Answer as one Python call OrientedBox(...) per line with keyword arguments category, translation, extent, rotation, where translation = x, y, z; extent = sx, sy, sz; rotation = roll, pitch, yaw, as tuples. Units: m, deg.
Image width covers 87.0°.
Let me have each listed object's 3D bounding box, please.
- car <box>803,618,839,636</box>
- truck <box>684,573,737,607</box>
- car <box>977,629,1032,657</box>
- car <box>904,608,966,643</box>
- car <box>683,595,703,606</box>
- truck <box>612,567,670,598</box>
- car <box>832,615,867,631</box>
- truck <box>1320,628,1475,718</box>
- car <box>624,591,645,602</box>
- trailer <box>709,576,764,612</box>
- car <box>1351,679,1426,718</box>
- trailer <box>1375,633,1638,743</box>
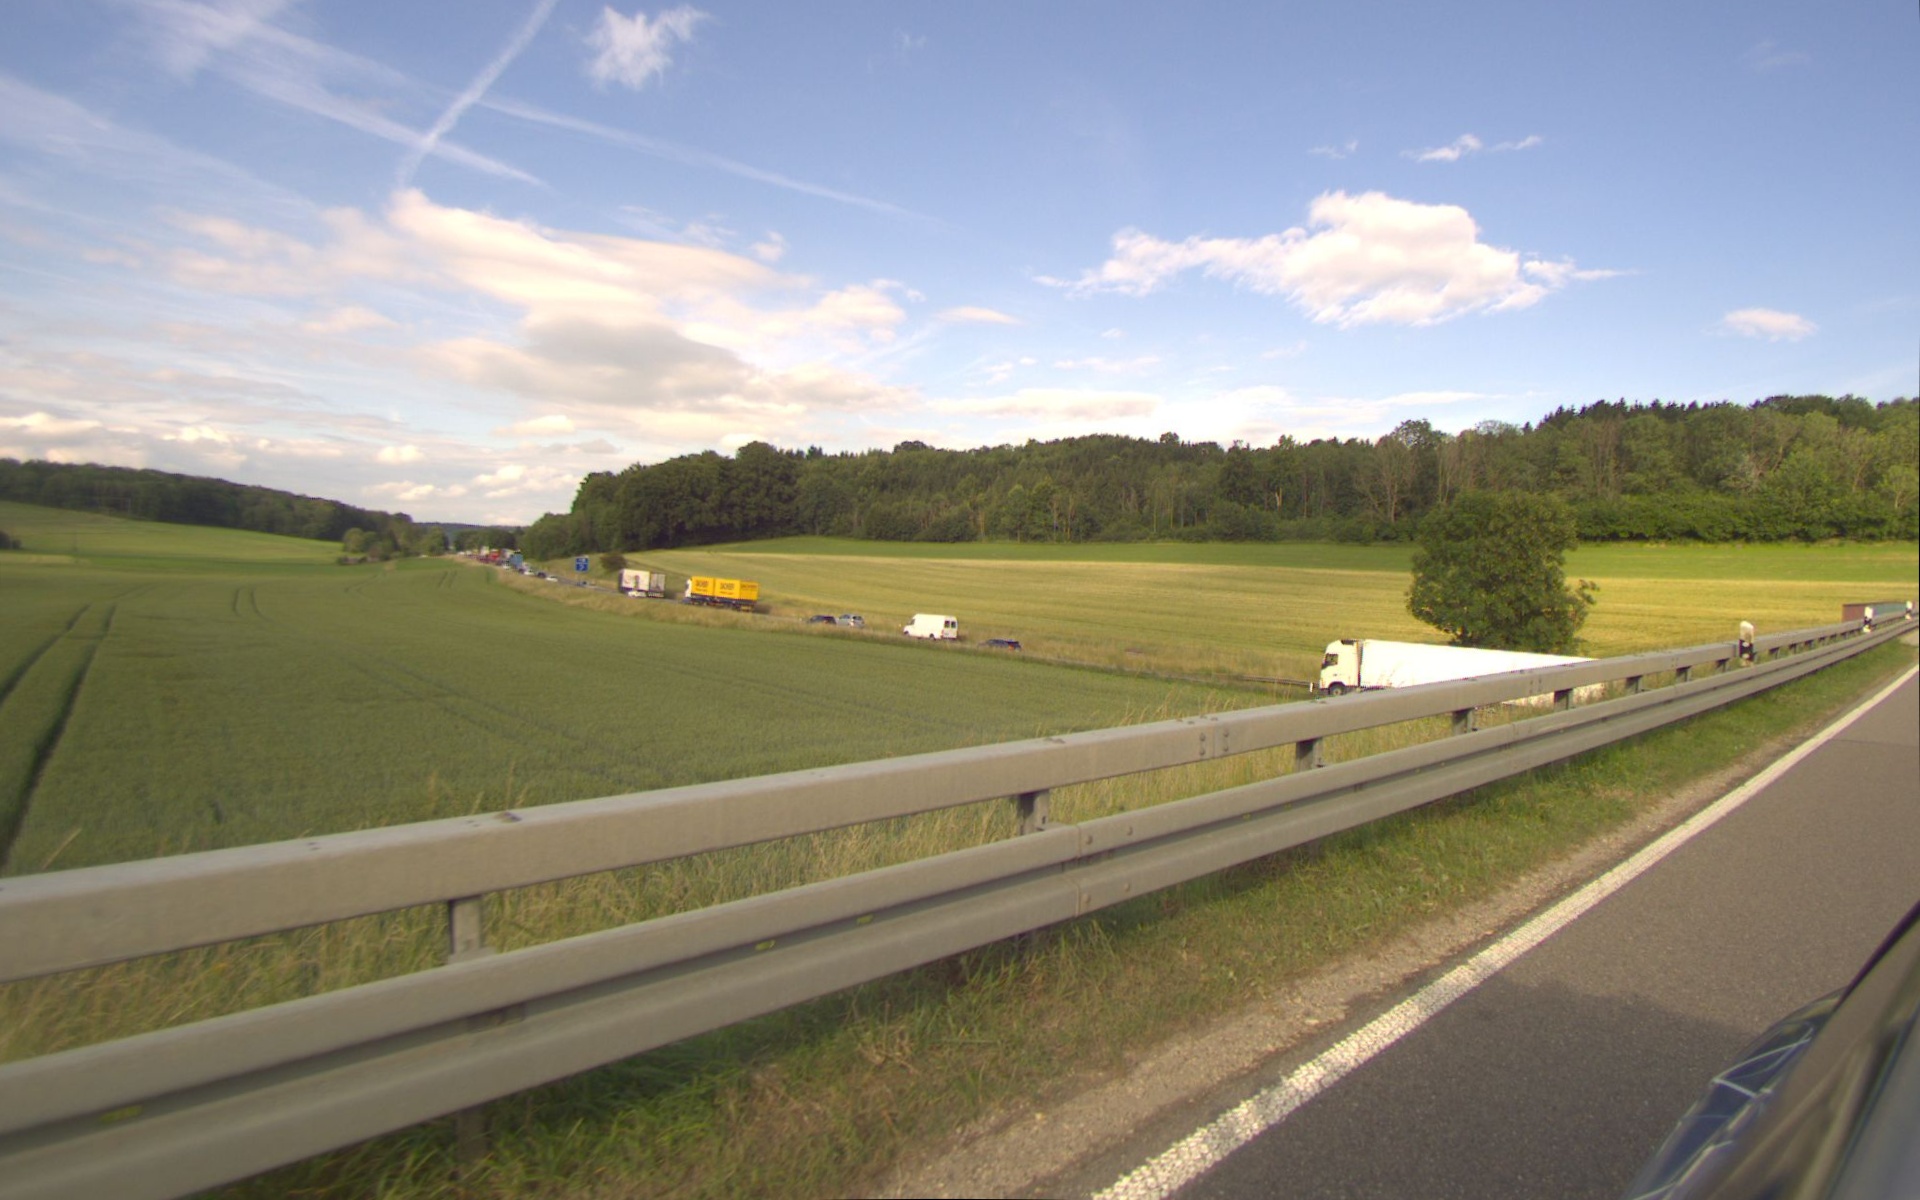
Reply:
OrientedBox(category="car", translation=(-13.824, 2.624, 100.493), extent=(1.653, 1.538, 3.995), rotation=(1, 2, -41))
OrientedBox(category="truck", translation=(-34.053, -1.406, 137.683), extent=(3.765, 4.108, 9.806), rotation=(-2, 4, -35))
OrientedBox(category="car", translation=(3.466, 3.381, 80.140), extent=(1.748, 1.722, 4.366), rotation=(-2, 5, -43))
OrientedBox(category="car", translation=(-2.413, 2.420, 96.195), extent=(2.331, 2.617, 6.119), rotation=(6, 0, -40))
OrientedBox(category="car", translation=(-33.804, 0.097, 128.207), extent=(1.353, 1.283, 3.097), rotation=(1, 2, -39))
OrientedBox(category="truck", translation=(-50.801, -2.904, 160.707), extent=(4.007, 4.042, 14.421), rotation=(-4, 6, -38))
OrientedBox(category="car", translation=(-11.818, 2.457, 107.866), extent=(1.771, 1.487, 3.996), rotation=(3, 1, -40))
OrientedBox(category="truck", translation=(26.695, 4.342, 62.120), extent=(2.976, 4.523, 8.047), rotation=(4, 1, -41))
OrientedBox(category="car", translation=(-46.256, -0.537, 143.784), extent=(1.580, 1.412, 3.323), rotation=(1, 2, -41))
OrientedBox(category="trailer", translation=(-28.718, -0.890, 129.966), extent=(3.765, 4.108, 9.134), rotation=(-2, 4, -34))
OrientedBox(category="car", translation=(23.975, 5.478, 56.703), extent=(1.733, 1.662, 3.461), rotation=(-4, 3, -41))
OrientedBox(category="trailer", translation=(30.601, 4.728, 57.579), extent=(2.979, 4.523, 12.713), rotation=(4, 1, -41))
